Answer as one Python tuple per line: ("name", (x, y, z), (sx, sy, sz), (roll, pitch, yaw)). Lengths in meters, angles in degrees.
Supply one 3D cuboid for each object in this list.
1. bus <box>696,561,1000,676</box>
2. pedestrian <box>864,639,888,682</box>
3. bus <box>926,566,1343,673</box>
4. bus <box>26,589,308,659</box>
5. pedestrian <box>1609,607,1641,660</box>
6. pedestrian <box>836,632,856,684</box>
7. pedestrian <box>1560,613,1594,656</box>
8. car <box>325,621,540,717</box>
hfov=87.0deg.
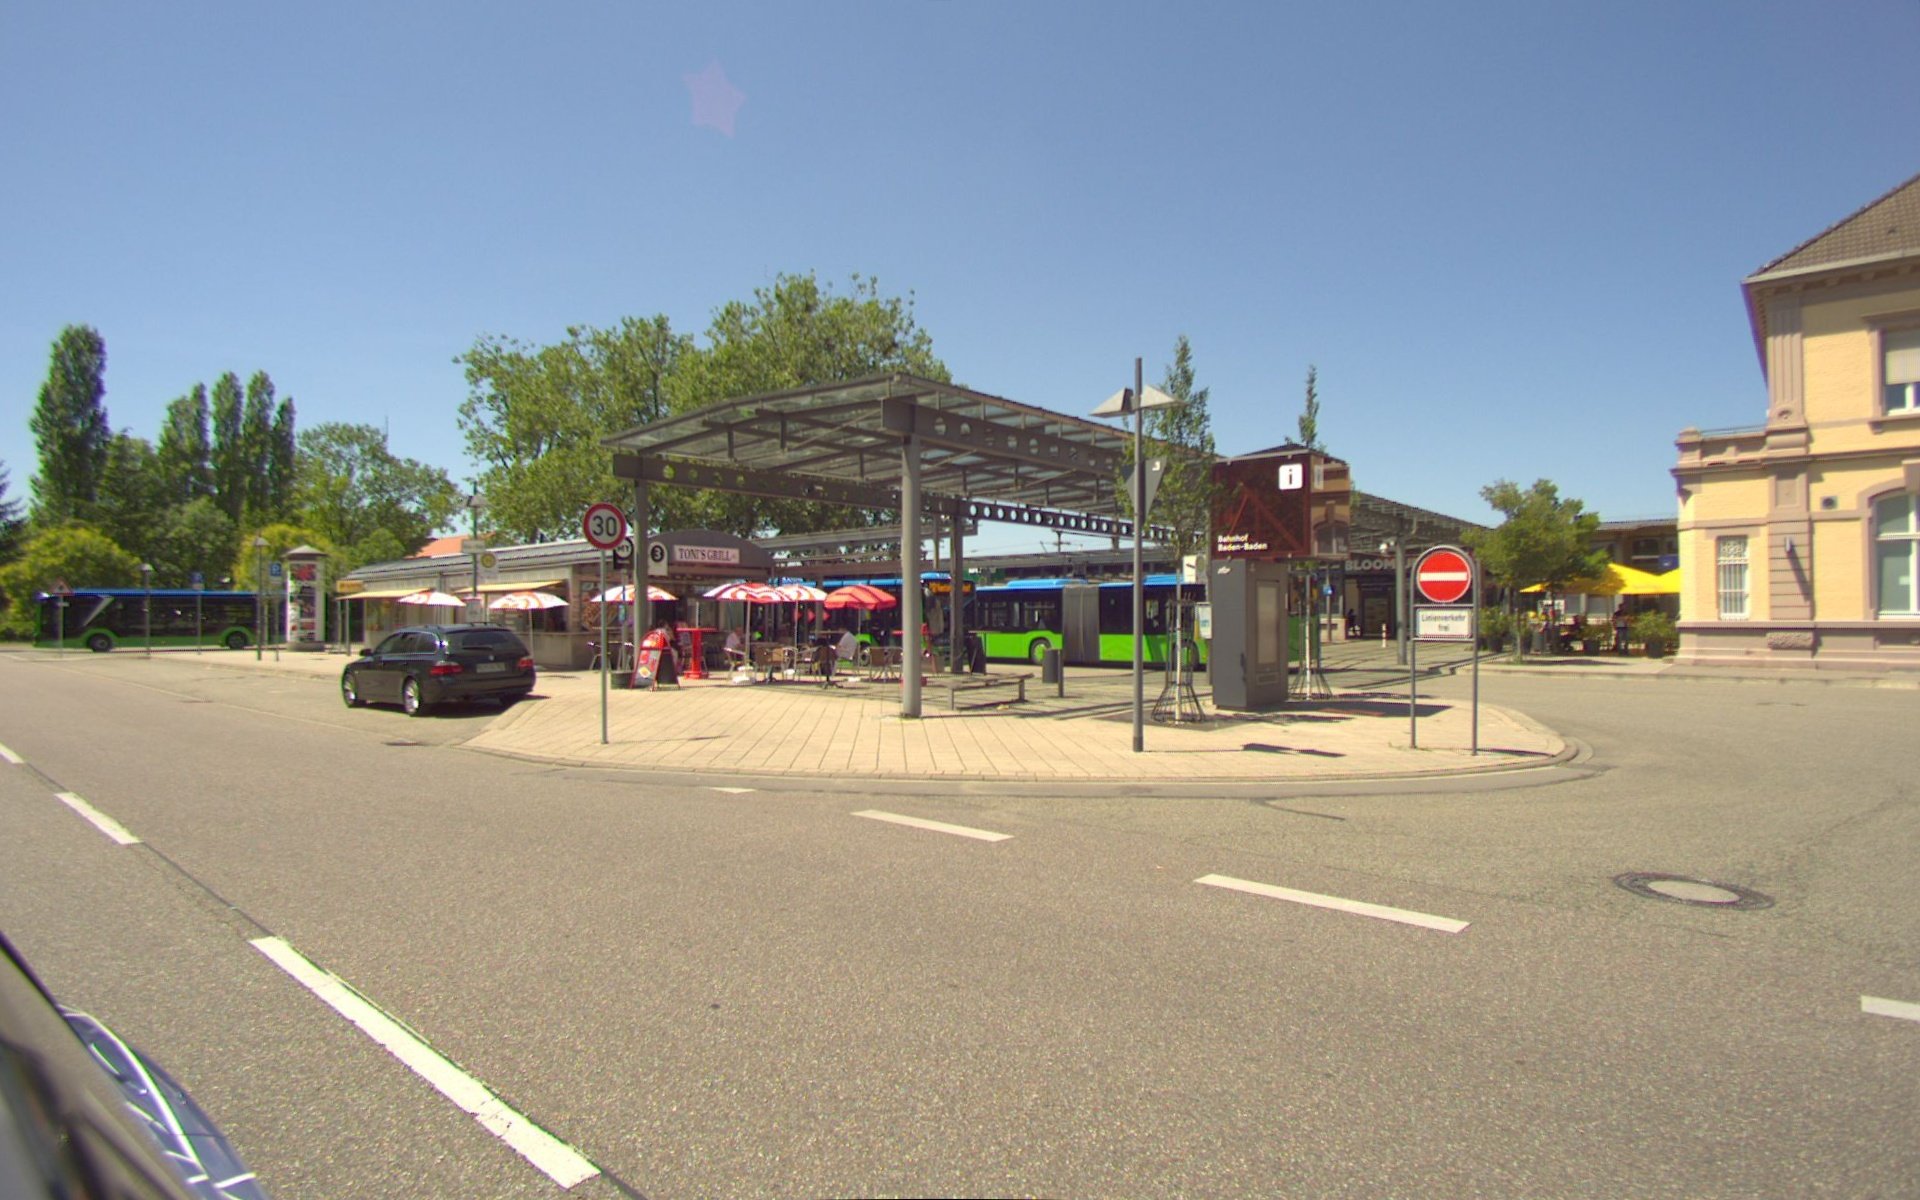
("bus", (-4.170, 0.692, 33.620), (11.844, 3.258, 2.933), (-2, -2, 42))
("pedestrian", (-1.876, 1.360, 22.656), (0.421, 0.930, 0.370), (1, 0, 12))
("bus", (5.182, 0.768, 35.431), (15.520, 3.060, 2.835), (-2, -2, 44))
("bus", (-43.145, 1.260, 55.778), (12.019, 3.553, 2.175), (0, -1, -35))
("pedestrian", (21.899, 1.101, 33.332), (0.777, 1.698, 0.659), (-3, -3, 34))
("pedestrian", (-2.539, 1.291, 22.584), (0.365, 1.131, 0.427), (1, -1, -15))
("pedestrian", (21.560, 1.210, 35.359), (0.957, 1.488, 0.890), (-2, -2, 32))
("car", (-9.443, 1.123, 17.938), (4.782, 1.490, 1.701), (-1, -2, 40))
